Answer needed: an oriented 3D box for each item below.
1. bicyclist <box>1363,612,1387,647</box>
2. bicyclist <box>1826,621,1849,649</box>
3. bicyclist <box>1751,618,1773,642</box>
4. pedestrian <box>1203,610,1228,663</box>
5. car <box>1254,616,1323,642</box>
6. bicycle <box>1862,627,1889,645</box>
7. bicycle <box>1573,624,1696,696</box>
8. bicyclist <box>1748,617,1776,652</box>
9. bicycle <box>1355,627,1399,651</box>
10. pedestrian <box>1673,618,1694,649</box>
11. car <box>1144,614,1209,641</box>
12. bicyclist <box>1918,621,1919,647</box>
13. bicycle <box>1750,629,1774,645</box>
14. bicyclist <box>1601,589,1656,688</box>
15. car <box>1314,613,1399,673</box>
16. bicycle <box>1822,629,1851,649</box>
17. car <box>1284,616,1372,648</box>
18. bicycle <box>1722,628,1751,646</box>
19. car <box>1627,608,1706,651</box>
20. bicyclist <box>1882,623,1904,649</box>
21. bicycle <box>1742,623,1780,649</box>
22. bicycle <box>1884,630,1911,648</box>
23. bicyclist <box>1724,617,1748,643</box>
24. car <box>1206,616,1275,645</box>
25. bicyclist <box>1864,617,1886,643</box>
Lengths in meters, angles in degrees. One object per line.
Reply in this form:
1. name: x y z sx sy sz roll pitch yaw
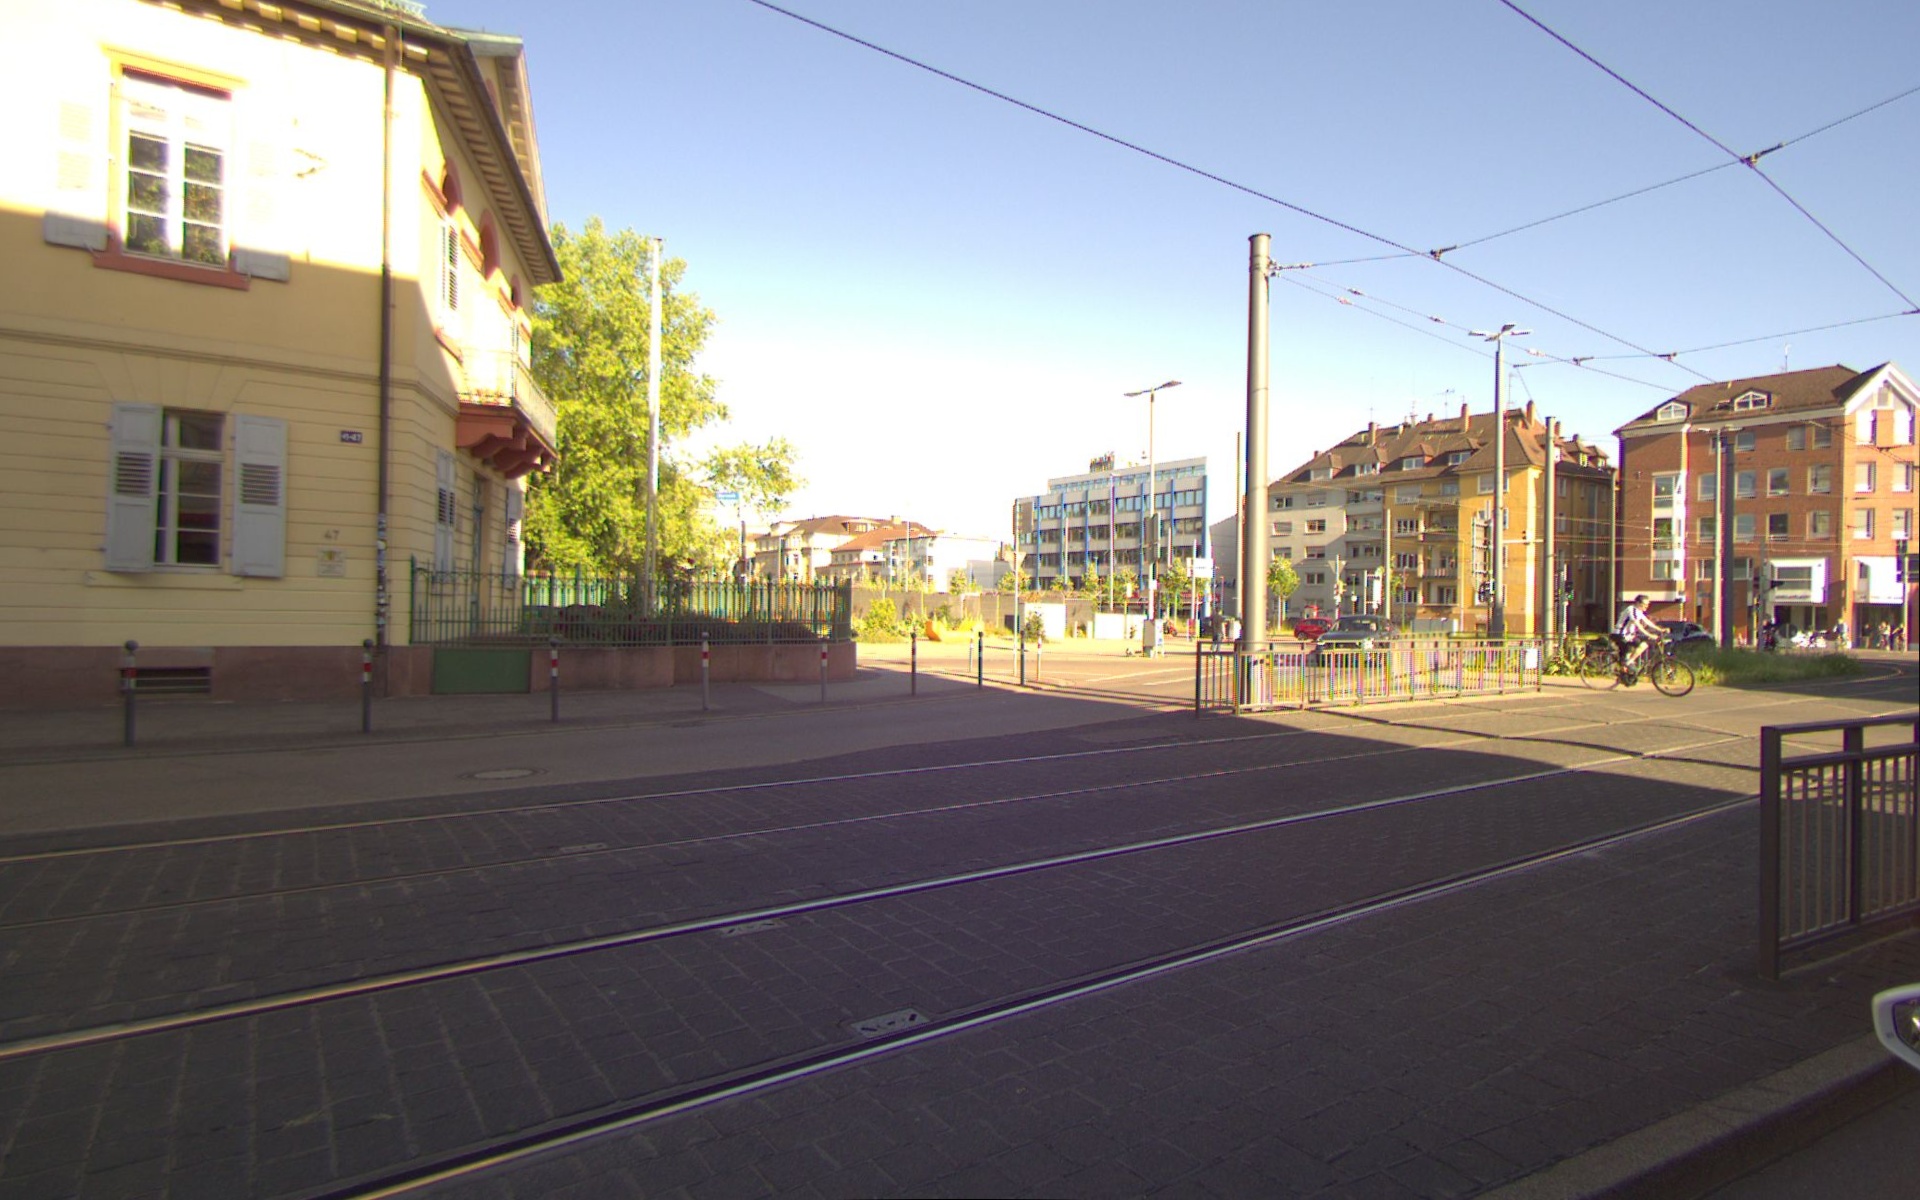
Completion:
1. bicyclist: 22.434 1.600 54.310 0.785 1.832 0.892 2 0 -42
2. bicyclist: 51.423 2.069 58.840 0.737 1.584 0.781 2 0 -28
3. bicyclist: 50.368 1.909 63.083 0.958 1.490 0.702 1 0 -22
4. pedestrian: 8.490 1.212 33.411 0.758 1.703 0.593 2 0 12
5. car: 21.499 1.898 65.873 1.781 1.503 3.949 2 0 -43
6. bicycle: 56.196 2.206 61.637 2.255 1.103 0.527 1 0 -28
7. bicycle: 12.477 1.089 18.650 1.821 1.238 0.485 2 0 28
8. bicyclist: 36.351 1.547 45.514 0.581 1.547 0.783 2 0 -25
9. bicycle: 22.506 2.088 54.230 0.542 1.230 2.168 2 0 -41
10. pedestrian: 44.116 2.032 61.251 0.737 1.845 0.781 2 0 -28
11. car: 14.748 1.865 68.572 1.895 1.708 3.916 2 0 -41
12. bicyclist: 60.595 2.146 62.836 0.737 1.584 0.781 1 0 -28
13. bicycle: 50.371 2.334 63.107 1.669 0.994 0.403 2 0 -22
14. bicyclist: 12.426 0.702 18.687 0.739 1.783 0.757 2 0 29
15. car: 11.405 1.185 28.791 1.616 1.546 3.857 2 0 31
16. bicycle: 51.376 2.305 58.848 2.197 1.103 0.535 2 0 -28
17. car: 21.878 1.880 59.894 1.984 1.723 4.545 2 0 -41
18. bicycle: 45.620 2.167 59.005 2.220 0.984 0.521 2 0 -31
19. car: 27.658 1.155 39.284 4.007 1.547 1.694 2 0 -43
20. bicyclist: 58.712 2.247 63.213 0.737 1.584 0.781 1 0 -28
21. bicycle: 36.283 1.641 45.479 2.172 1.108 0.457 2 0 -26
22. bicycle: 59.180 2.485 63.390 2.255 1.103 0.527 2 0 -28
23. bicyclist: 45.494 1.747 58.902 0.688 1.523 0.894 2 0 -30
24. car: 18.004 1.935 64.586 1.762 1.694 3.955 2 0 -39
25. bicyclist: 56.232 1.825 61.733 0.737 1.584 0.781 1 0 -28
